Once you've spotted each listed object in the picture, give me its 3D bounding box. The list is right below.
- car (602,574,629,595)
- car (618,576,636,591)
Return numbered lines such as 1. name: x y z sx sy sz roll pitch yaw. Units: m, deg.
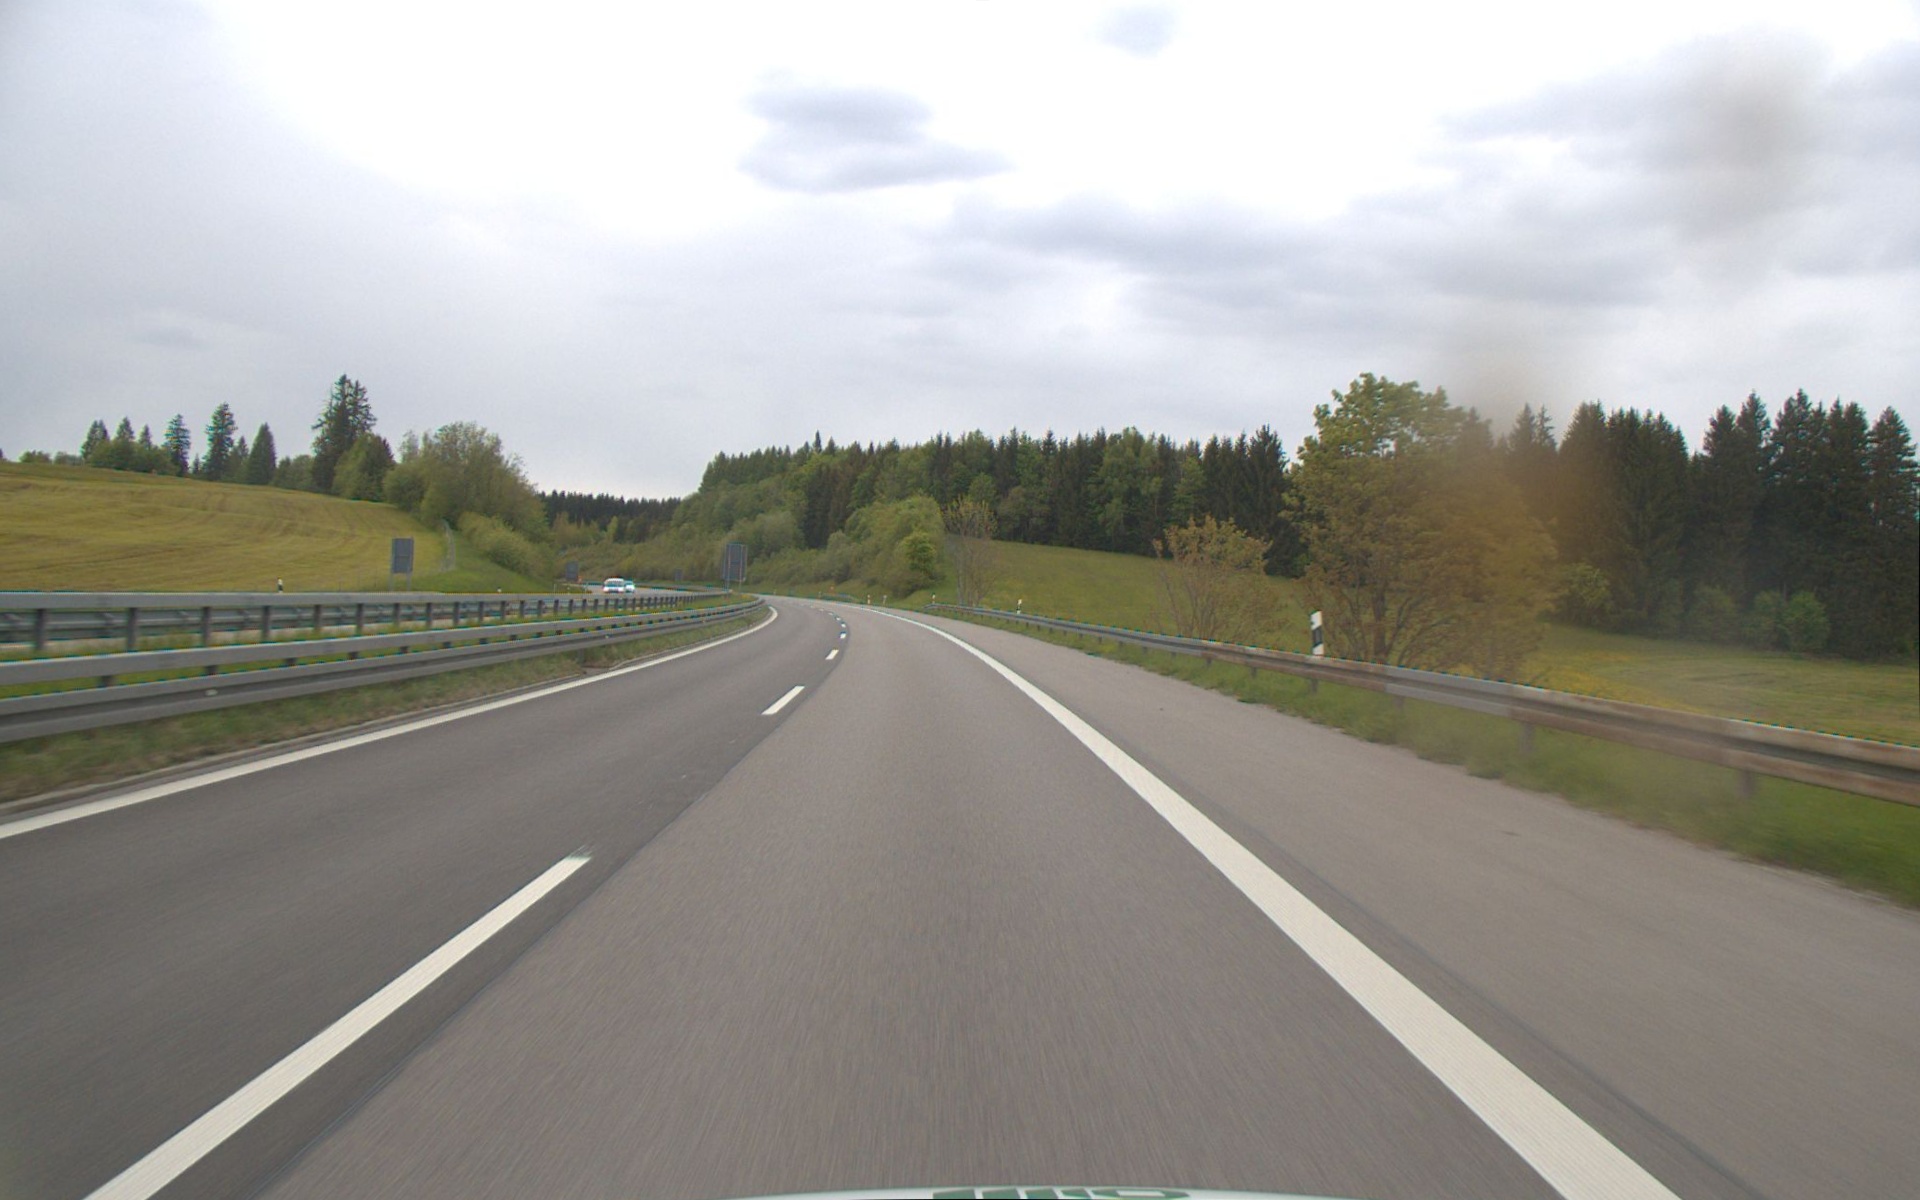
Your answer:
1. car: -30.743 -1.365 147.577 1.957 1.715 4.618 4 1 -9
2. car: -42.608 -2.163 211.549 2.001 1.720 5.038 4 1 -14
